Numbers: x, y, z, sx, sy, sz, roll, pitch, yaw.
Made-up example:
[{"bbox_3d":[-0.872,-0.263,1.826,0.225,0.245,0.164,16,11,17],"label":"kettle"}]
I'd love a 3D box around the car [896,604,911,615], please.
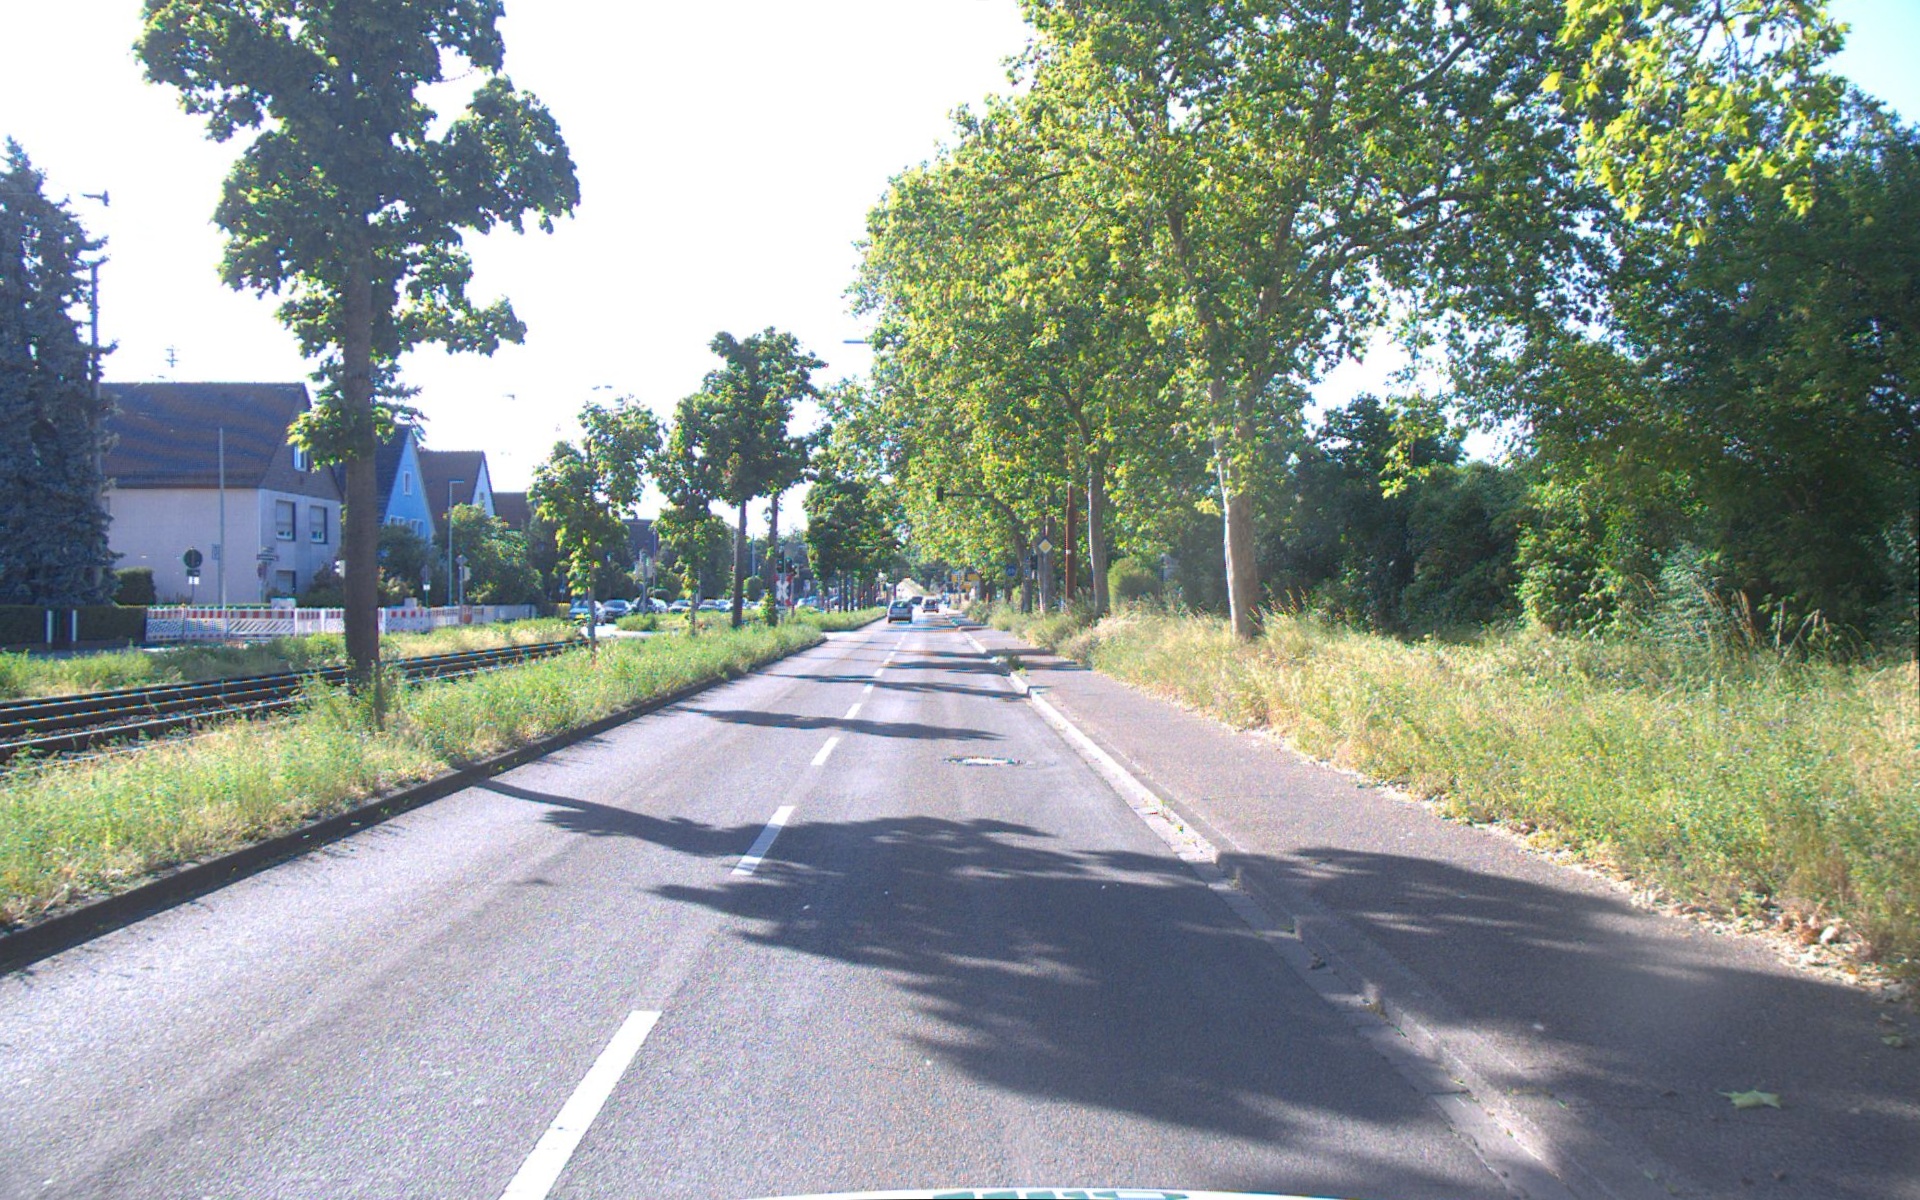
[{"bbox_3d":[-8.030,1.360,235.024,1.953,1.632,4.472,1,-1,-2],"label":"car"}]

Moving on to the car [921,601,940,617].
[{"bbox_3d":[-3.247,1.008,182.335,1.953,1.632,4.472,1,-1,-2],"label":"car"}]

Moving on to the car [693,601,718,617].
[{"bbox_3d":[-24.349,0.895,158.465,1.822,1.438,4.157,1,-1,-2],"label":"car"}]

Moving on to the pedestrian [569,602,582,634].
[{"bbox_3d":[-25.354,1.195,109.024,0.667,2.049,0.772,1,-1,-2],"label":"pedestrian"}]

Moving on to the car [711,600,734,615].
[{"bbox_3d":[-24.171,0.807,168.352,1.822,1.456,4.460,1,-1,-2],"label":"car"}]

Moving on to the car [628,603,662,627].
[{"bbox_3d":[-22.923,1.070,120.542,1.712,1.679,4.553,1,-1,-2],"label":"car"}]

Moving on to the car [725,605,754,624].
[{"bbox_3d":[-18.763,1.232,140.741,1.953,1.632,4.472,1,-1,-2],"label":"car"}]

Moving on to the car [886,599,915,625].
[{"bbox_3d":[-3.847,0.793,107.804,1.822,1.629,4.226,1,-1,-2],"label":"car"}]

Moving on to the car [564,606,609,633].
[{"bbox_3d":[-22.687,1.205,100.549,1.822,1.569,4.226,1,-1,-2],"label":"car"}]

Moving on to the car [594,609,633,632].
[{"bbox_3d":[-22.863,1.339,109.411,1.694,1.491,4.601,1,-1,-2],"label":"car"}]

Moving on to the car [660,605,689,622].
[{"bbox_3d":[-24.106,1.116,139.815,1.822,1.393,4.226,1,-1,-2],"label":"car"}]
